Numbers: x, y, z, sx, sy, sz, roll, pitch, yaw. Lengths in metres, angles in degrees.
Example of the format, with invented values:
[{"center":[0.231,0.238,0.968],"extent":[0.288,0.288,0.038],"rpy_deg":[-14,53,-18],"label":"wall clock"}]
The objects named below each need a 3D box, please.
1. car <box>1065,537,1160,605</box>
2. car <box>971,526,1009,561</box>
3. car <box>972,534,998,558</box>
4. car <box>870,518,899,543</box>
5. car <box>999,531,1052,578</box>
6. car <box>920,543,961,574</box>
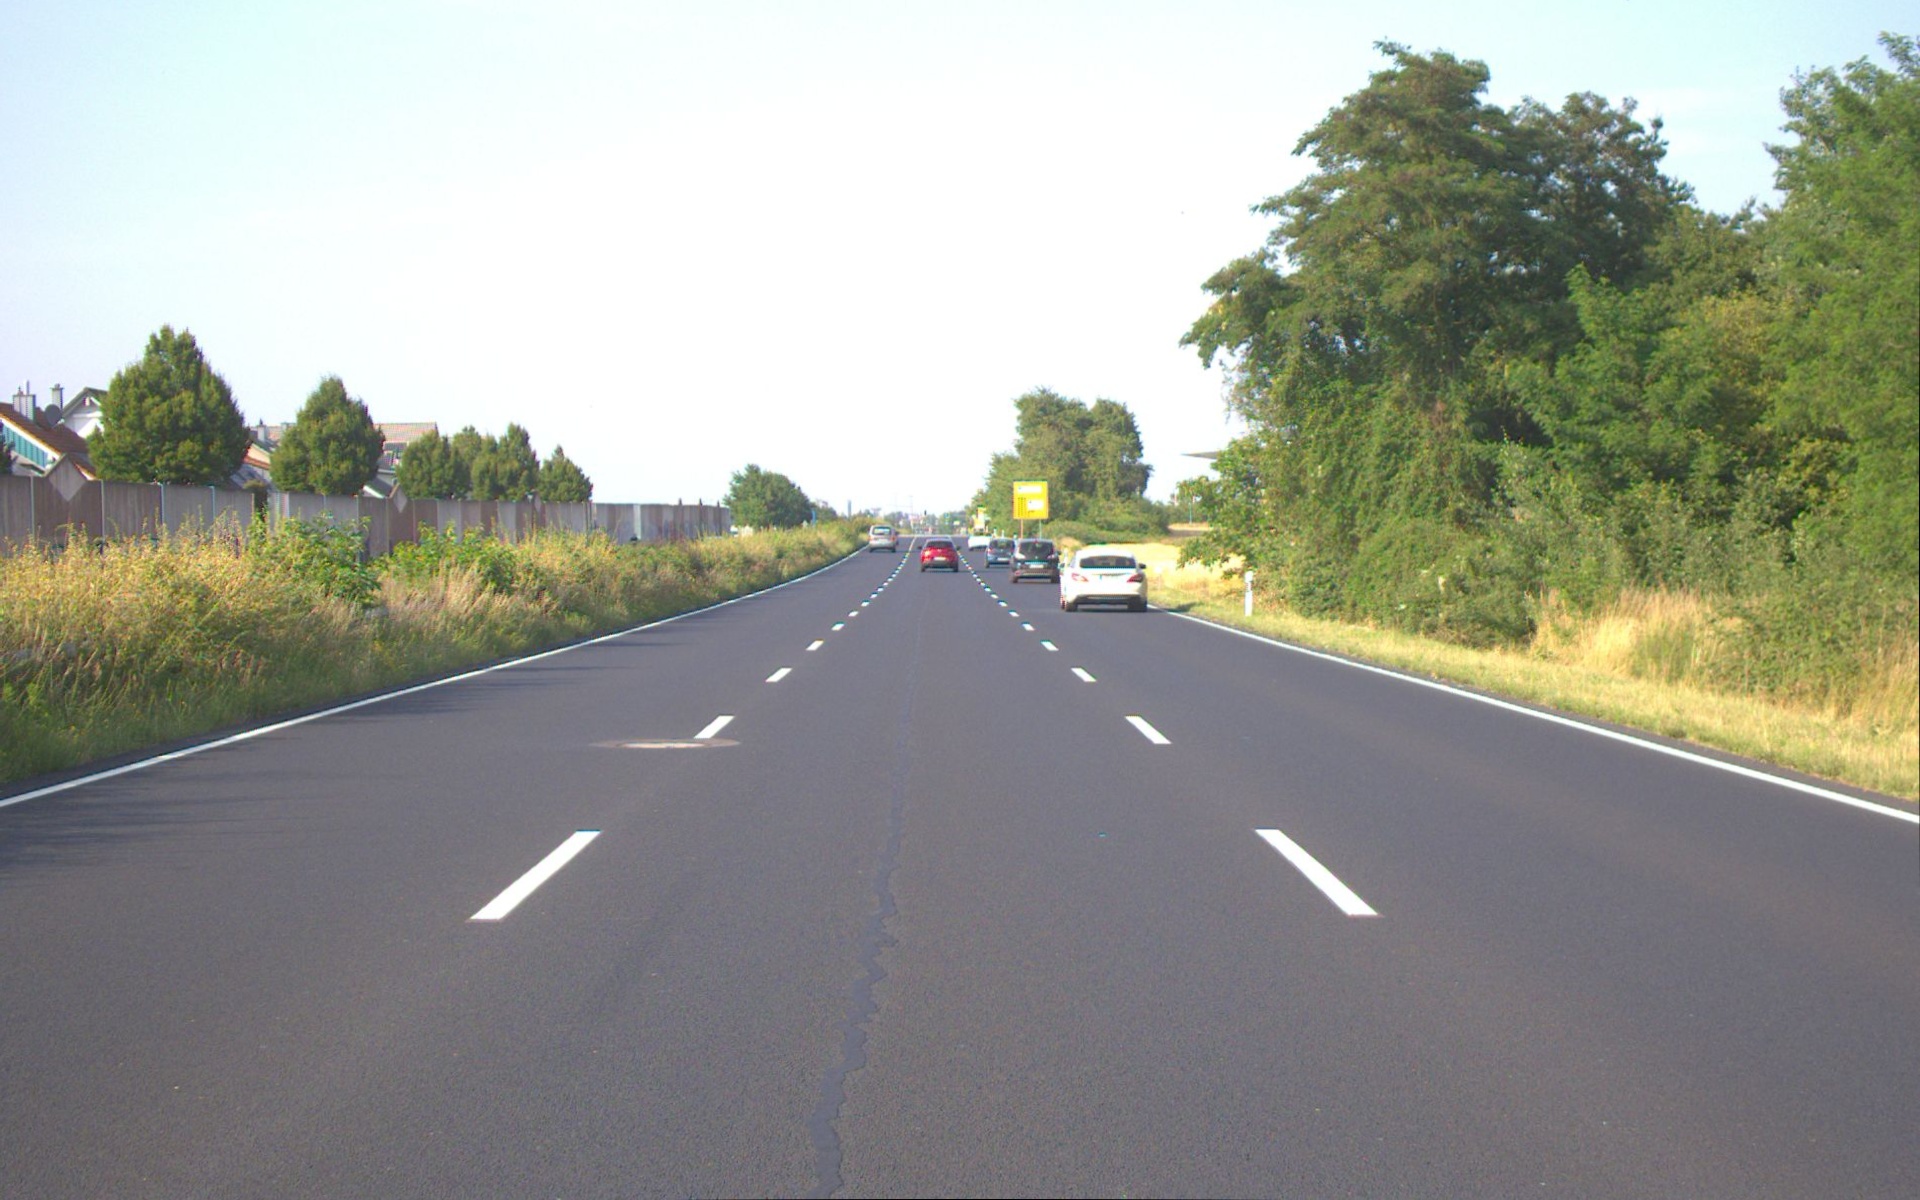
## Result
[{"center":[3.501,-0.677,79.538],"extent":[1.993,1.511,4.000],"rpy_deg":[1,1,0],"label":"car"},{"center":[1.505,-2.864,174.509],"extent":[1.834,1.711,3.862],"rpy_deg":[1,1,0],"label":"car"},{"center":[1.776,-3.884,247.347],"extent":[1.847,1.744,4.000],"rpy_deg":[1,1,0],"label":"car"},{"center":[-5.302,-4.893,241.303],"extent":[1.993,1.711,4.000],"rpy_deg":[1,1,-1],"label":"car"},{"center":[2.415,-1.695,128.086],"extent":[1.828,1.722,4.000],"rpy_deg":[1,1,-1],"label":"car"},{"center":[-0.926,-1.924,159.140],"extent":[1.812,1.431,3.859],"rpy_deg":[1,1,-1],"label":"car"}]
